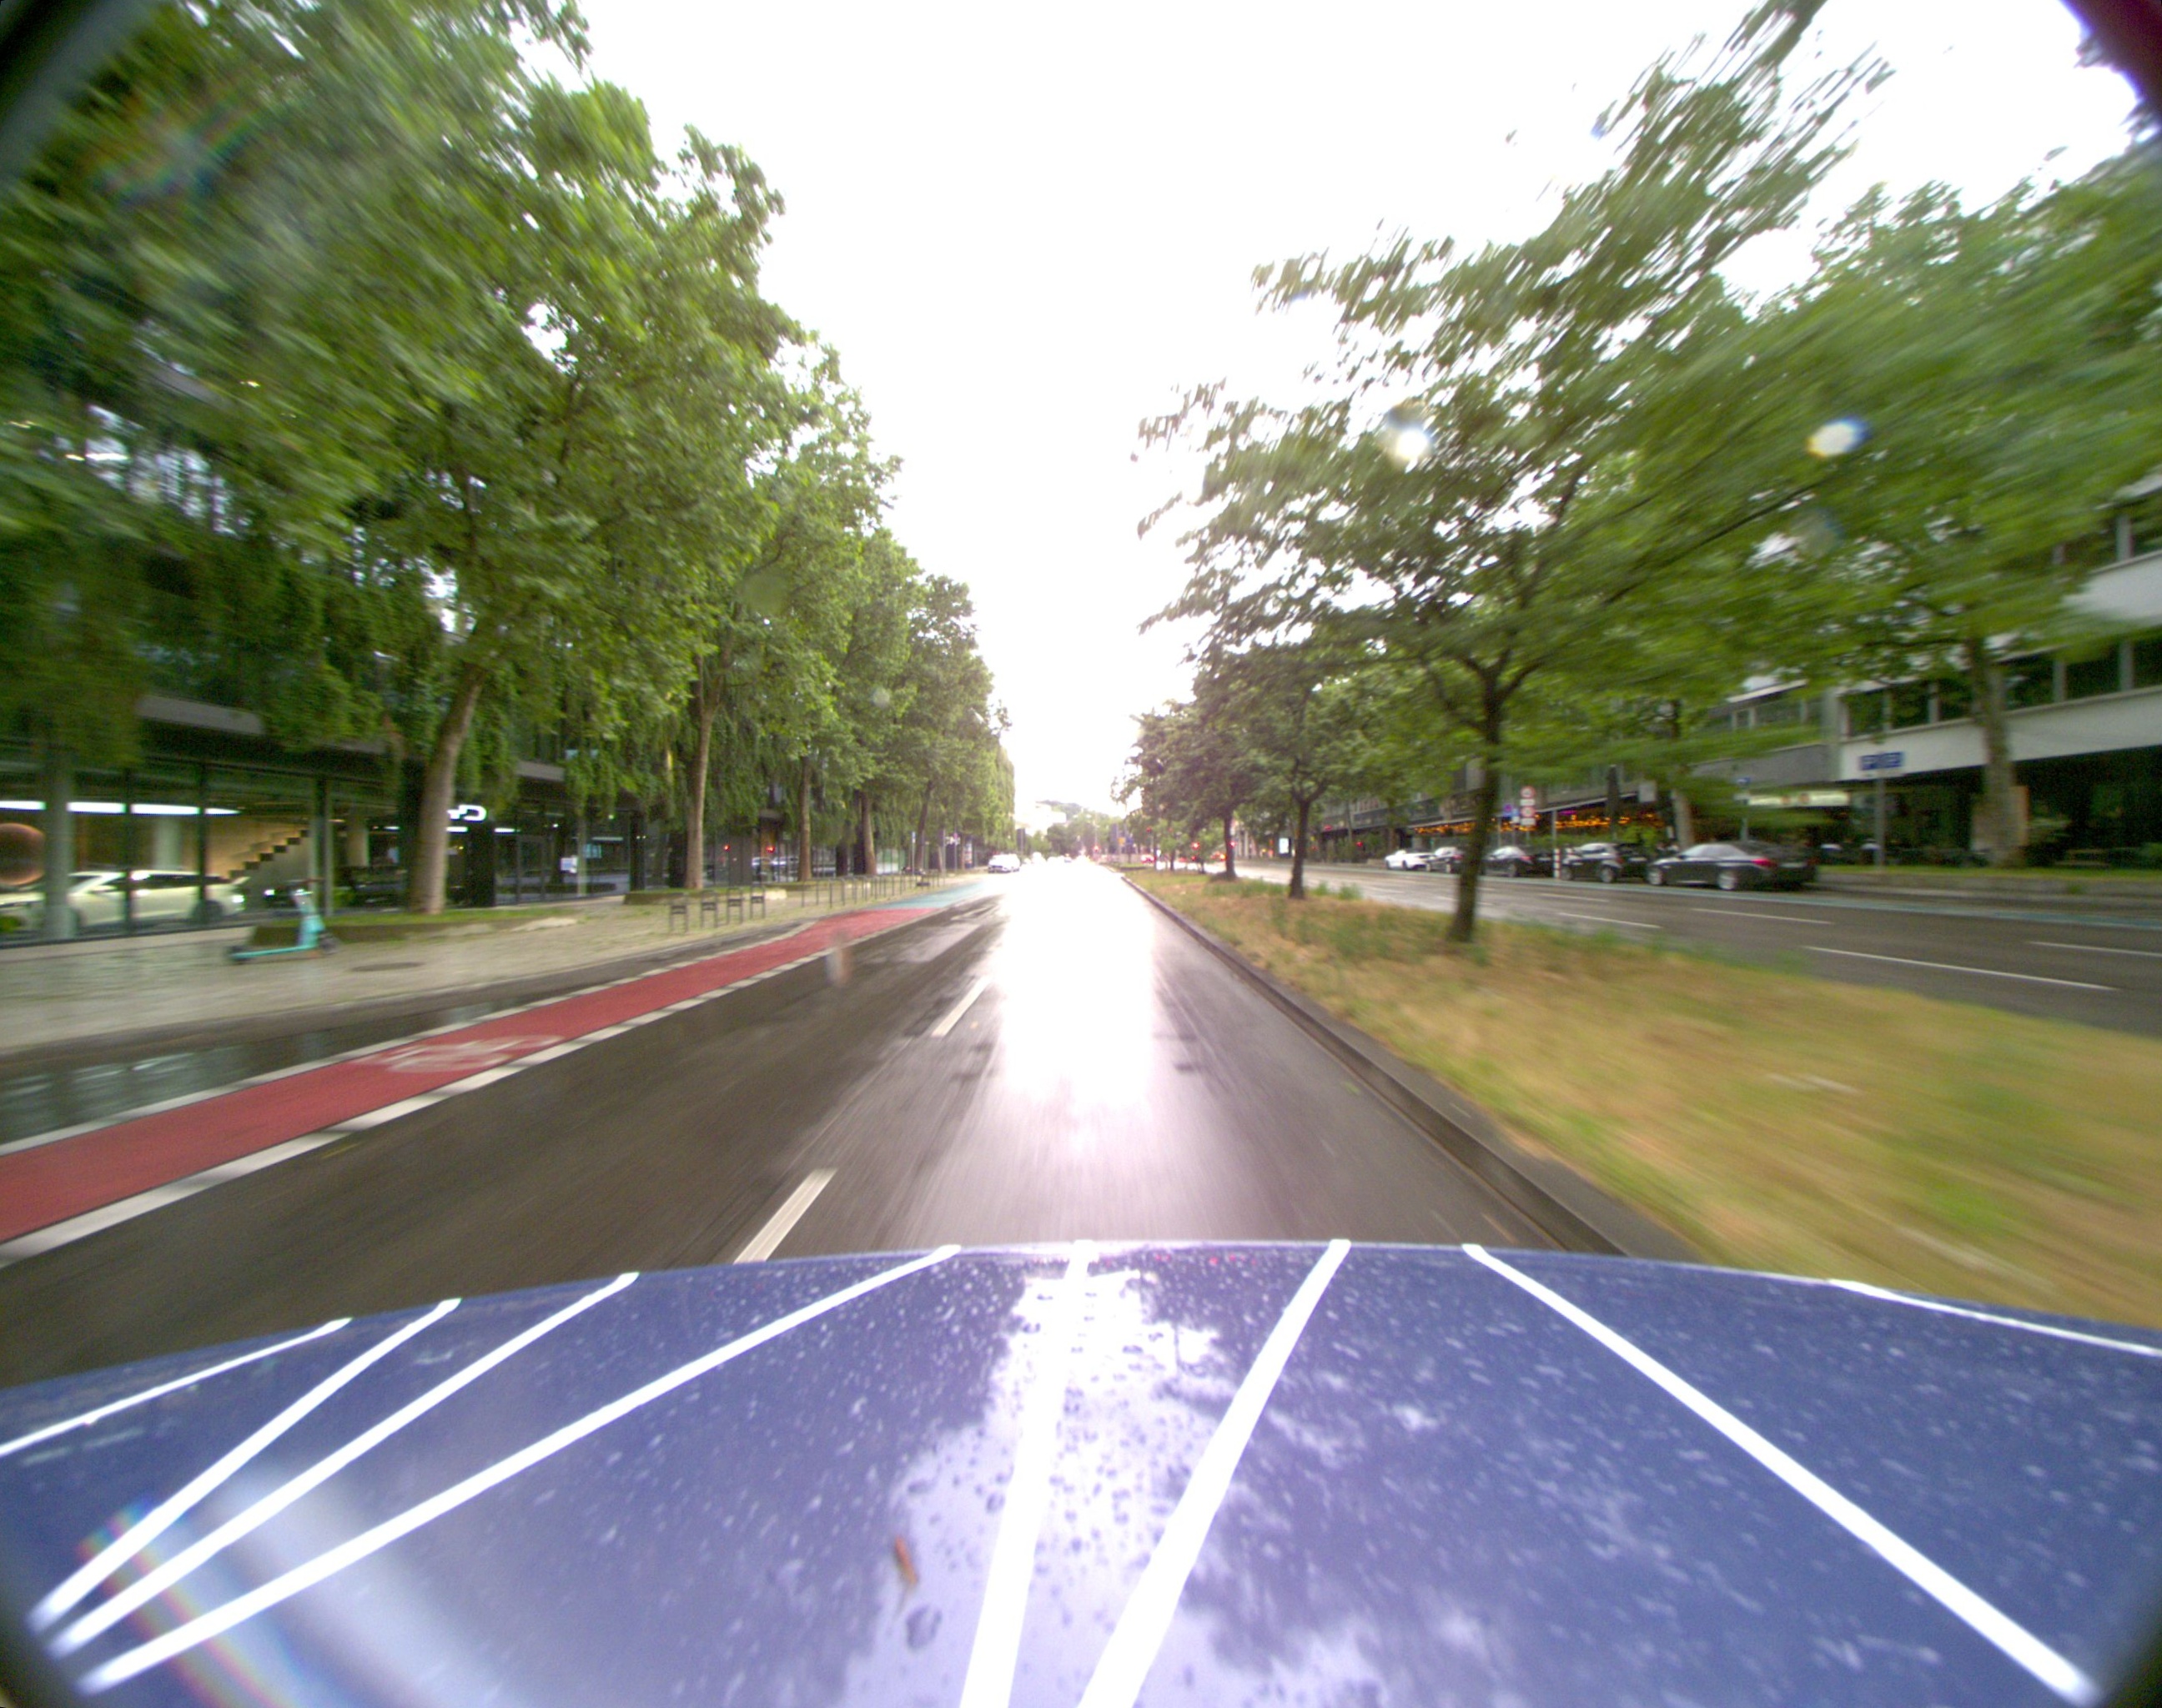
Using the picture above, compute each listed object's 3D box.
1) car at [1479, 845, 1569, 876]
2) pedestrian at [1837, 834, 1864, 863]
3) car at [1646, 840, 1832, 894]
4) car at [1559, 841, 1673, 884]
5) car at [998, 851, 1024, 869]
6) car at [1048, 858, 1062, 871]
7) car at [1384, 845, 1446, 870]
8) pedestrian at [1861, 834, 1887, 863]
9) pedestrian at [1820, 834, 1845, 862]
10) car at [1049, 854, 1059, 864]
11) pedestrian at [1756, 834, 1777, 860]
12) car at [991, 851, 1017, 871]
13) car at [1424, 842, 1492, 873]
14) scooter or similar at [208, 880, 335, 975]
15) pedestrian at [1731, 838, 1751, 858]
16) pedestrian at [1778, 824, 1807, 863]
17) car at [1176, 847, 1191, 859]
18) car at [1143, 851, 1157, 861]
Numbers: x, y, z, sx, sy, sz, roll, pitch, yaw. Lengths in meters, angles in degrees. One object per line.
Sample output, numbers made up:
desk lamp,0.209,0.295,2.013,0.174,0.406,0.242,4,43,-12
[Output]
car,19.922,0.258,34.415,1.647,1.232,4.318,-3,1,2
pedestrian,27.402,-0.210,27.071,0.486,0.995,0.490,-3,2,-15
car,19.692,0.316,23.058,1.875,1.377,4.537,-3,1,4
car,19.833,0.263,28.349,1.875,1.414,3.400,-3,1,1
car,-7.242,0.600,79.054,2.036,1.553,4.584,-3,1,2
car,-3.563,1.457,104.156,1.780,1.546,3.929,-3,1,0
car,20.194,0.172,46.136,1.881,1.318,4.391,-3,1,1
pedestrian,27.603,-0.193,26.462,0.458,0.958,0.453,-3,2,-15
pedestrian,27.337,-0.222,27.631,0.459,0.987,0.463,-3,2,-15
car,-4.559,0.804,129.024,1.557,1.534,3.663,-3,1,0
pedestrian,27.445,-0.298,30.424,0.464,1.010,0.424,-3,2,-2
car,-7.346,0.655,72.977,1.932,1.726,4.597,-3,1,0
car,20.026,0.143,40.520,1.750,1.445,3.788,-3,1,1
scooter or similar,-12.072,1.062,11.377,1.187,1.275,0.535,-3,2,-40
pedestrian,27.611,-0.254,31.793,0.440,0.845,0.433,-3,2,-2
pedestrian,30.439,-0.442,32.512,0.606,1.638,0.623,-3,2,-4
car,16.625,-0.179,123.831,1.938,1.776,3.954,-3,1,1
car,10.983,0.291,121.330,1.678,1.381,3.527,-3,1,-2
